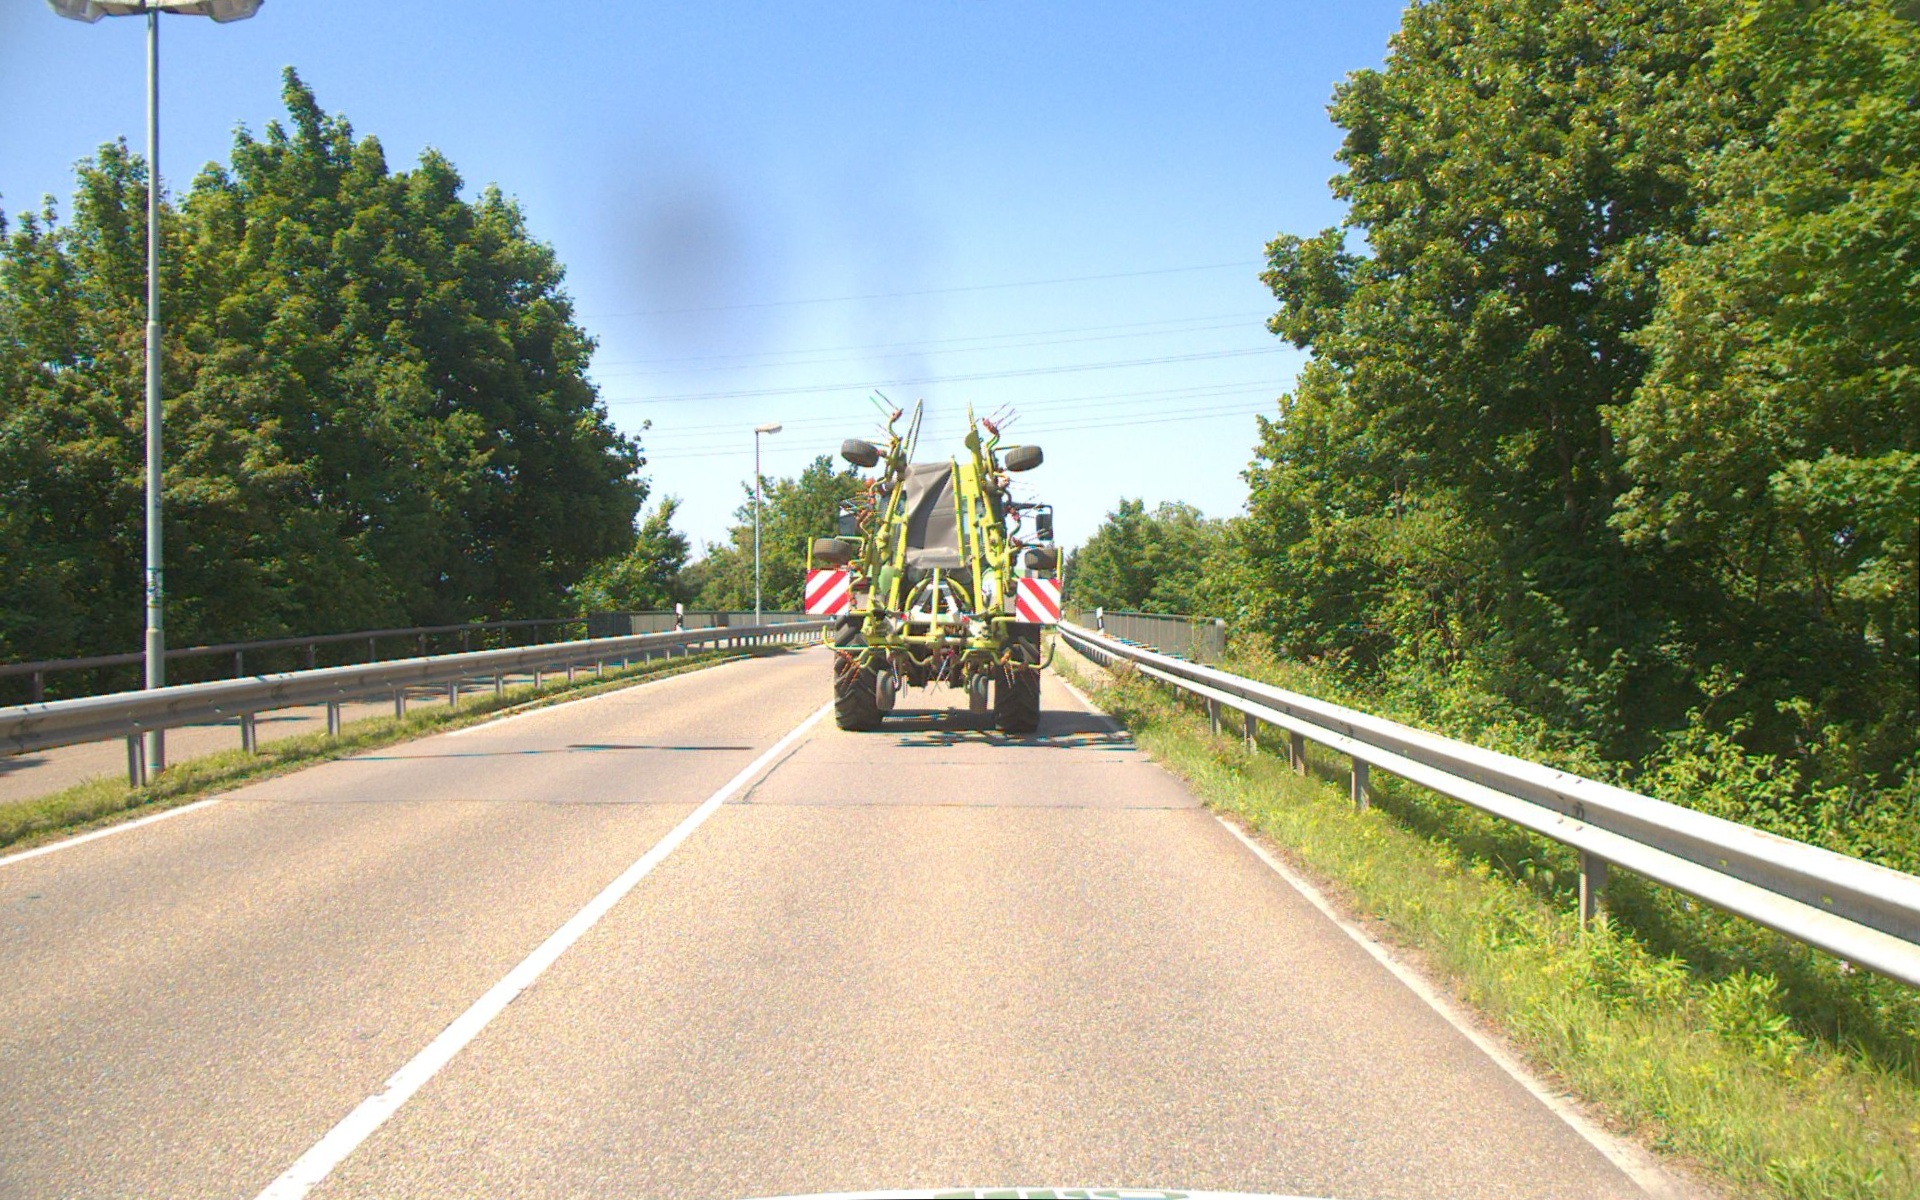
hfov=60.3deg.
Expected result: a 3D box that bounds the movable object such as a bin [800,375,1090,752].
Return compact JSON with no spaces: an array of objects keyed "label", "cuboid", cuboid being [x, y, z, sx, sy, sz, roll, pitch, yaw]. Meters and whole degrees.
[{"label":"movable object such as a bin","cuboid":[-0.209,-0.352,18.221,2.699,3.504,5.668,0,0,-2]}]
